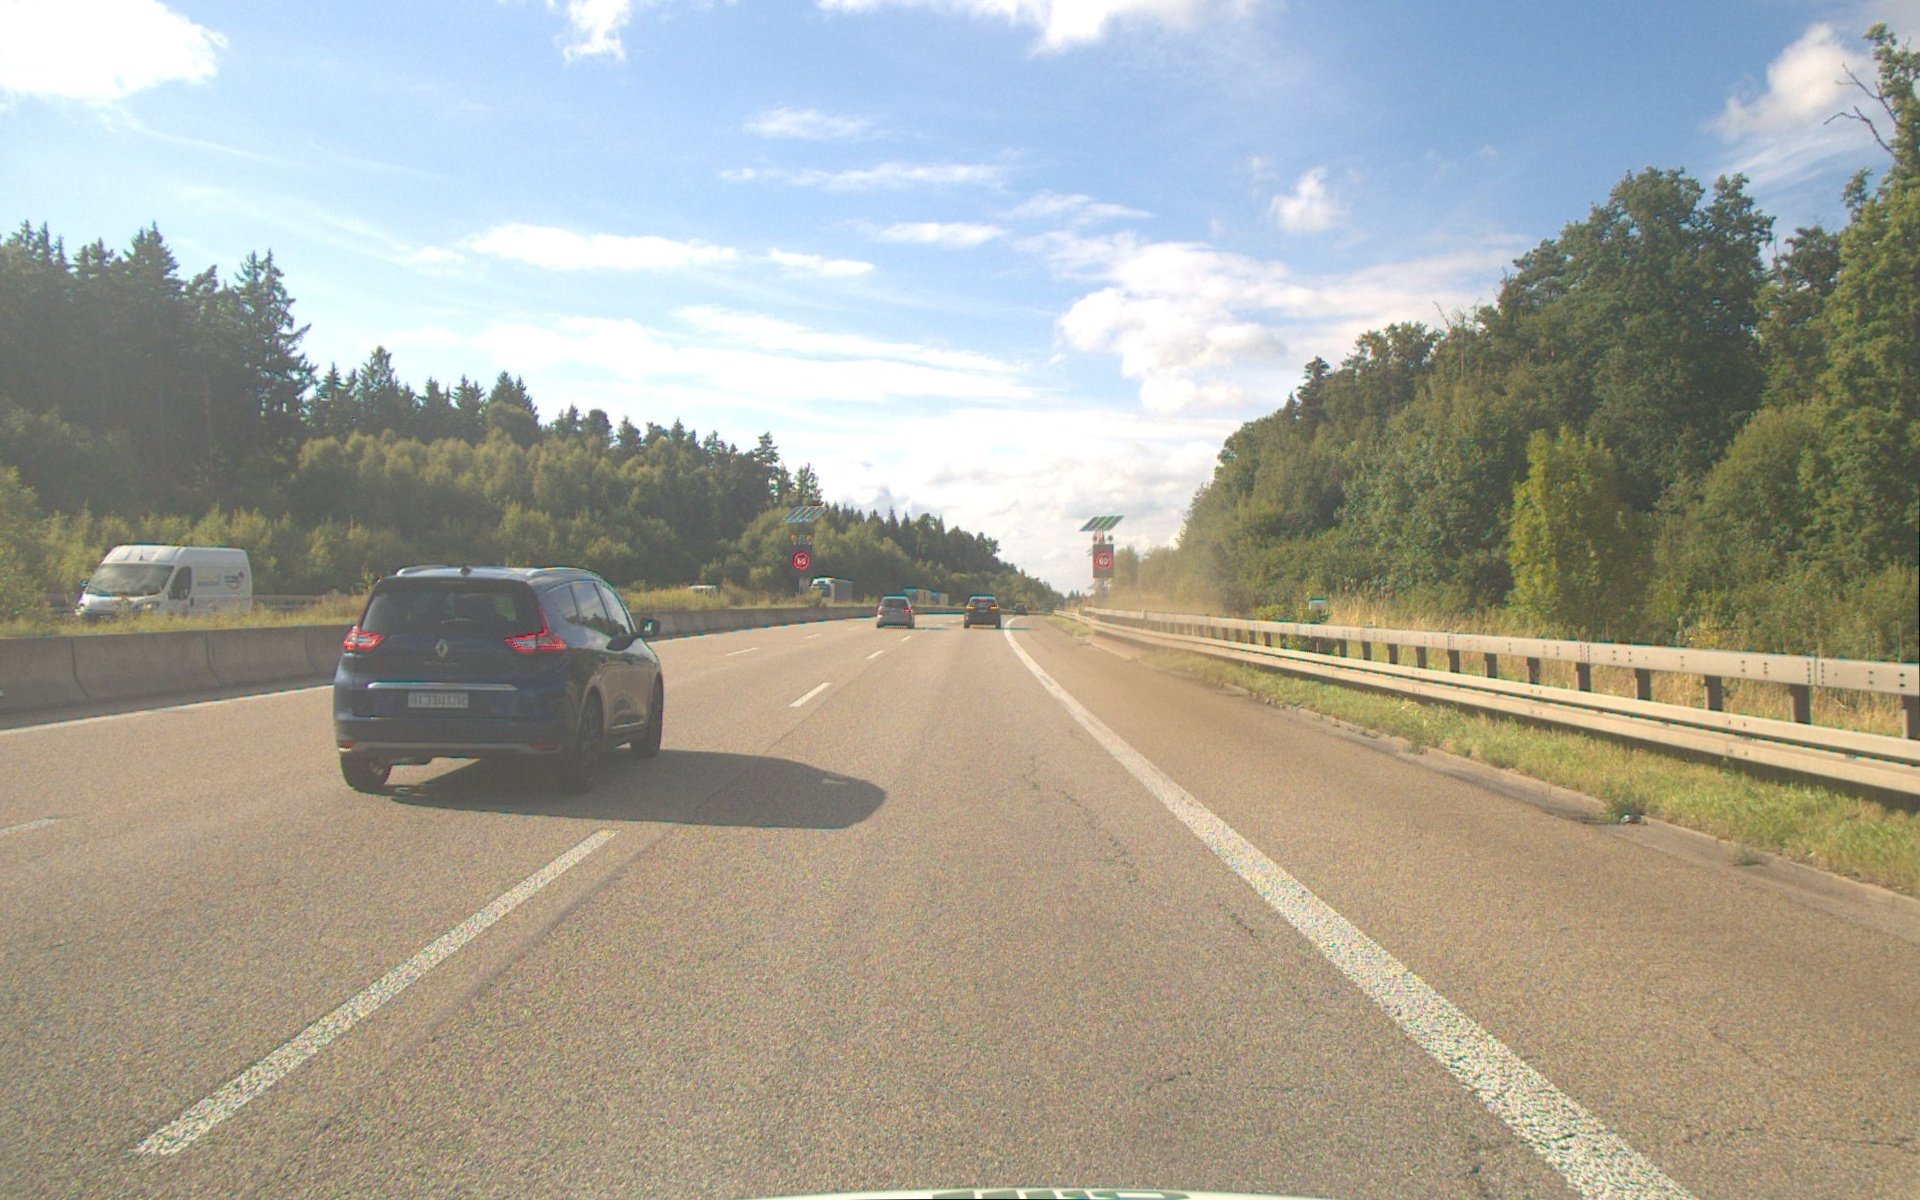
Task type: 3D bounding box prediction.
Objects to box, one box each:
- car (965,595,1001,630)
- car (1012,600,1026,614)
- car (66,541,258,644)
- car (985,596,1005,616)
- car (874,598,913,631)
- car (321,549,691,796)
[{"bbox_3d":[1.177,0.625,85.963,1.835,1.704,3.890,1,1,0],"label":"car"},{"bbox_3d":[7.435,0.860,209.494,1.774,1.735,4.001,1,0,1],"label":"car"},{"bbox_3d":[-18.957,-0.178,39.593,2.023,2.283,5.203,1,0,0],"label":"car"},{"bbox_3d":[3.810,0.644,179.736,1.953,2.049,4.000,2,0,-1],"label":"car"},{"bbox_3d":[-3.324,0.696,81.987,1.836,1.523,3.878,1,1,-3],"label":"car"},{"bbox_3d":[-3.600,0.509,14.044,1.953,1.736,4.528,1,0,-1],"label":"car"}]
